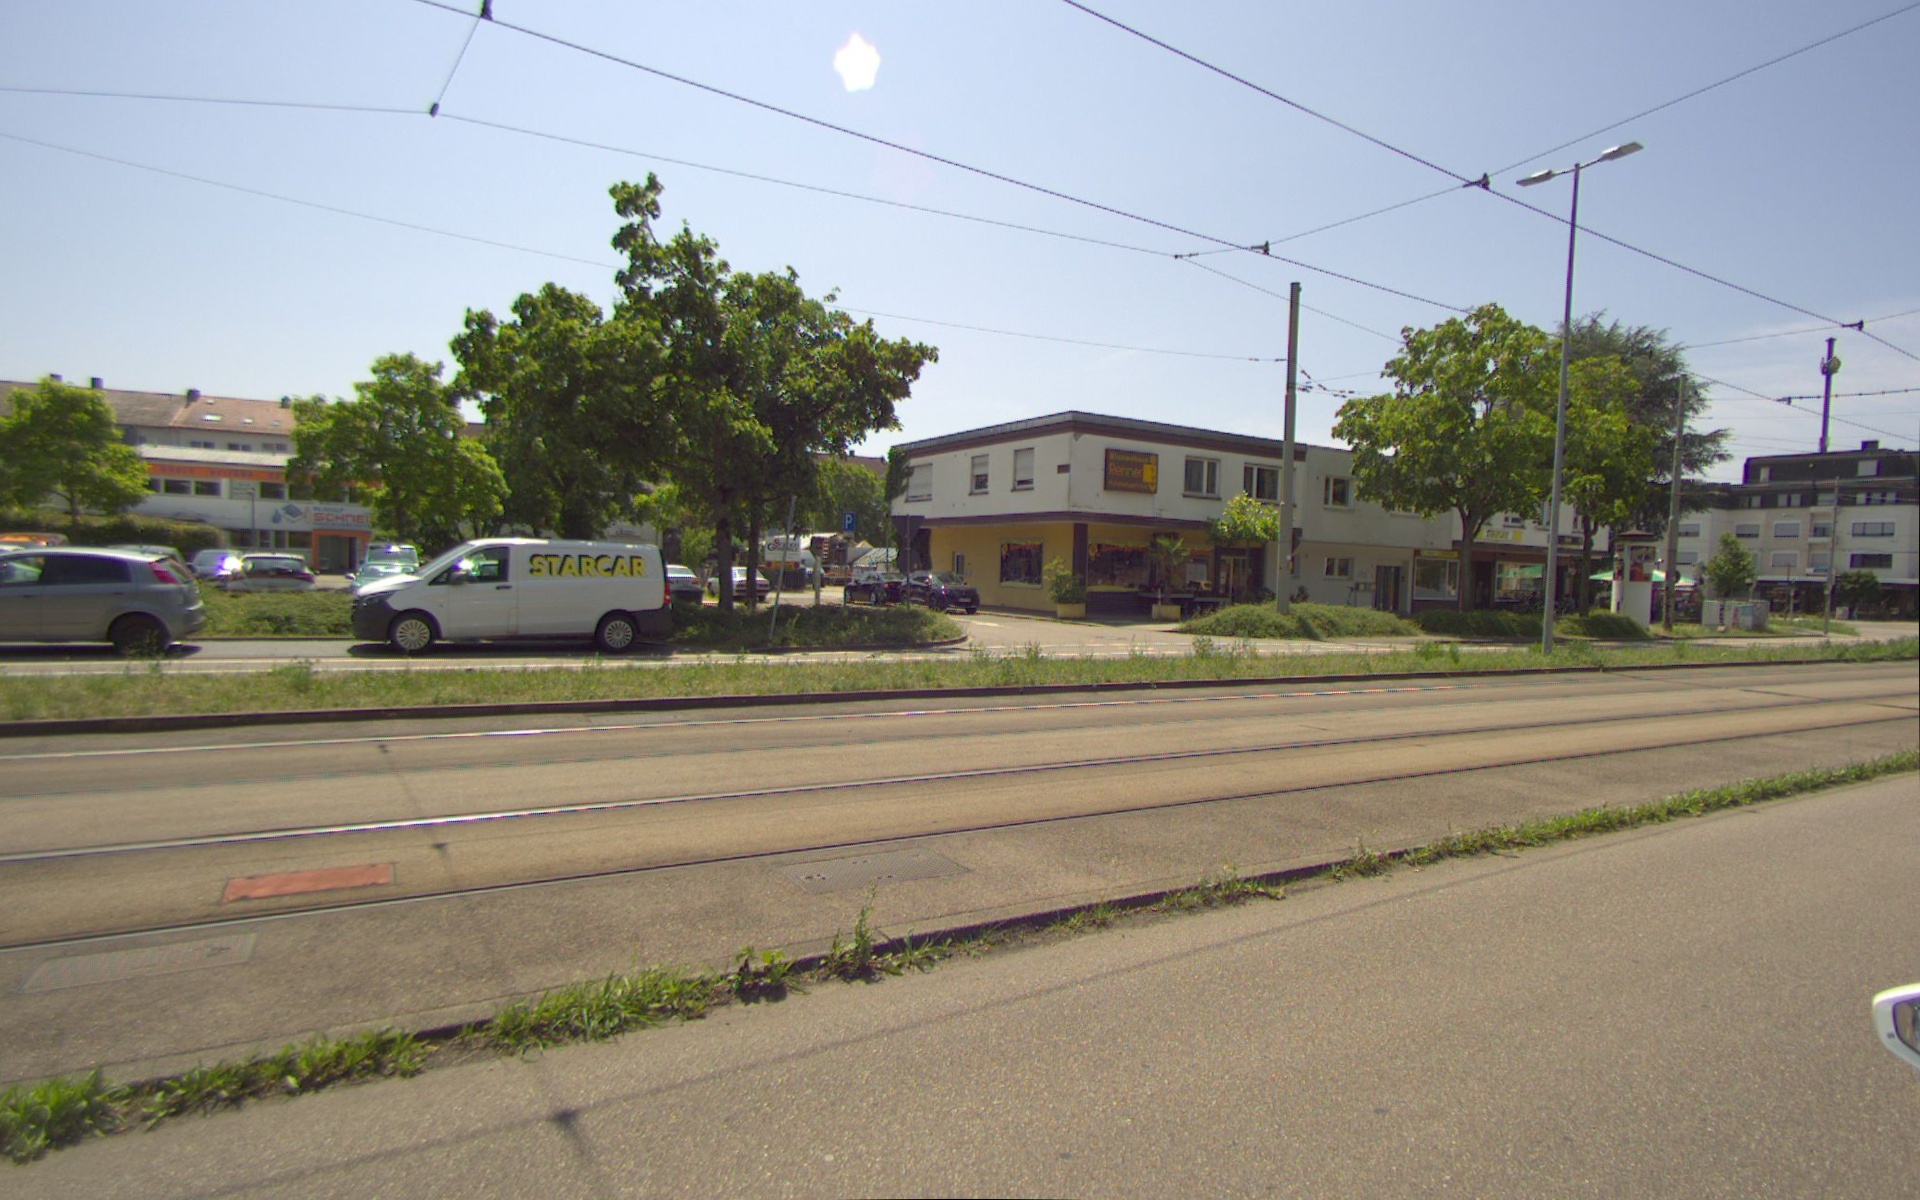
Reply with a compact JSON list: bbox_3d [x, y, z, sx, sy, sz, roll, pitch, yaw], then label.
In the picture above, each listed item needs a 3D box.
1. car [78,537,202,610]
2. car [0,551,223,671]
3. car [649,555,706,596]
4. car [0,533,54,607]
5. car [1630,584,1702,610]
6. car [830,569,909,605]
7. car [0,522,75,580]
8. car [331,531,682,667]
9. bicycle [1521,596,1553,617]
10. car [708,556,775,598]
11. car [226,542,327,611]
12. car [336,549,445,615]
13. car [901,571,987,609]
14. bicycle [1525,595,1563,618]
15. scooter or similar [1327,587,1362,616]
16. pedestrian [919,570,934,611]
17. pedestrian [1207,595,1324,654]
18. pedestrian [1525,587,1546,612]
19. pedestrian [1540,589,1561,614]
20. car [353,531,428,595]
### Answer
[{"bbox_3d":[-18.593,-0.620,22.945,2.005,1.510,4.119,1,2,-37],"label":"car"},{"bbox_3d":[-13.168,0.128,14.331,4.077,1.523,1.641,1,5,-30],"label":"car"},{"bbox_3d":[-11.893,-1.025,42.175,1.501,1.600,3.971,2,0,-28],"label":"car"},{"bbox_3d":[-21.189,-0.691,21.844,1.815,1.510,4.033,1,2,-37],"label":"car"},{"bbox_3d":[66.342,-0.305,94.480,2.219,2.372,5.037,2,0,-31],"label":"car"},{"bbox_3d":[-3.992,-0.569,43.742,1.975,1.440,4.114,1,0,-28],"label":"car"},{"bbox_3d":[-29.406,-1.525,31.798,1.676,1.675,4.088,1,1,-36],"label":"car"},{"bbox_3d":[-7.756,-0.014,17.478,5.281,2.038,1.866,1,5,-30],"label":"car"},{"bbox_3d":[27.730,0.318,48.299,1.739,0.992,0.536,2,0,-31],"label":"bicycle"},{"bbox_3d":[-9.461,-0.958,43.271,1.781,1.678,3.971,2,0,-28],"label":"car"},{"bbox_3d":[-16.819,-0.555,24.635,1.843,1.509,4.102,2,0,-37],"label":"car"},{"bbox_3d":[-14.491,-0.455,25.463,1.895,1.509,3.998,2,0,-37],"label":"car"},{"bbox_3d":[-0.658,-0.403,38.284,1.661,1.314,3.970,0,2,-28],"label":"car"},{"bbox_3d":[26.964,0.298,46.351,2.006,0.992,0.607,2,0,-31],"label":"bicycle"},{"bbox_3d":[16.634,0.046,43.466,1.321,1.207,0.455,2,0,-11],"label":"scooter or similar"},{"bbox_3d":[-1.492,-0.413,44.721,0.466,1.823,0.484,1,0,-31],"label":"pedestrian"},{"bbox_3d":[11.304,0.918,37.080,3.955,2.040,1.983,2,0,-31],"label":"pedestrian"},{"bbox_3d":[30.070,-0.047,52.479,0.832,1.285,0.586,1,0,-31],"label":"pedestrian"},{"bbox_3d":[30.523,0.066,51.906,0.832,1.285,0.586,1,0,-31],"label":"pedestrian"},{"bbox_3d":[-20.800,-1.287,36.692,2.200,2.097,5.083,2,0,-30],"label":"car"}]
